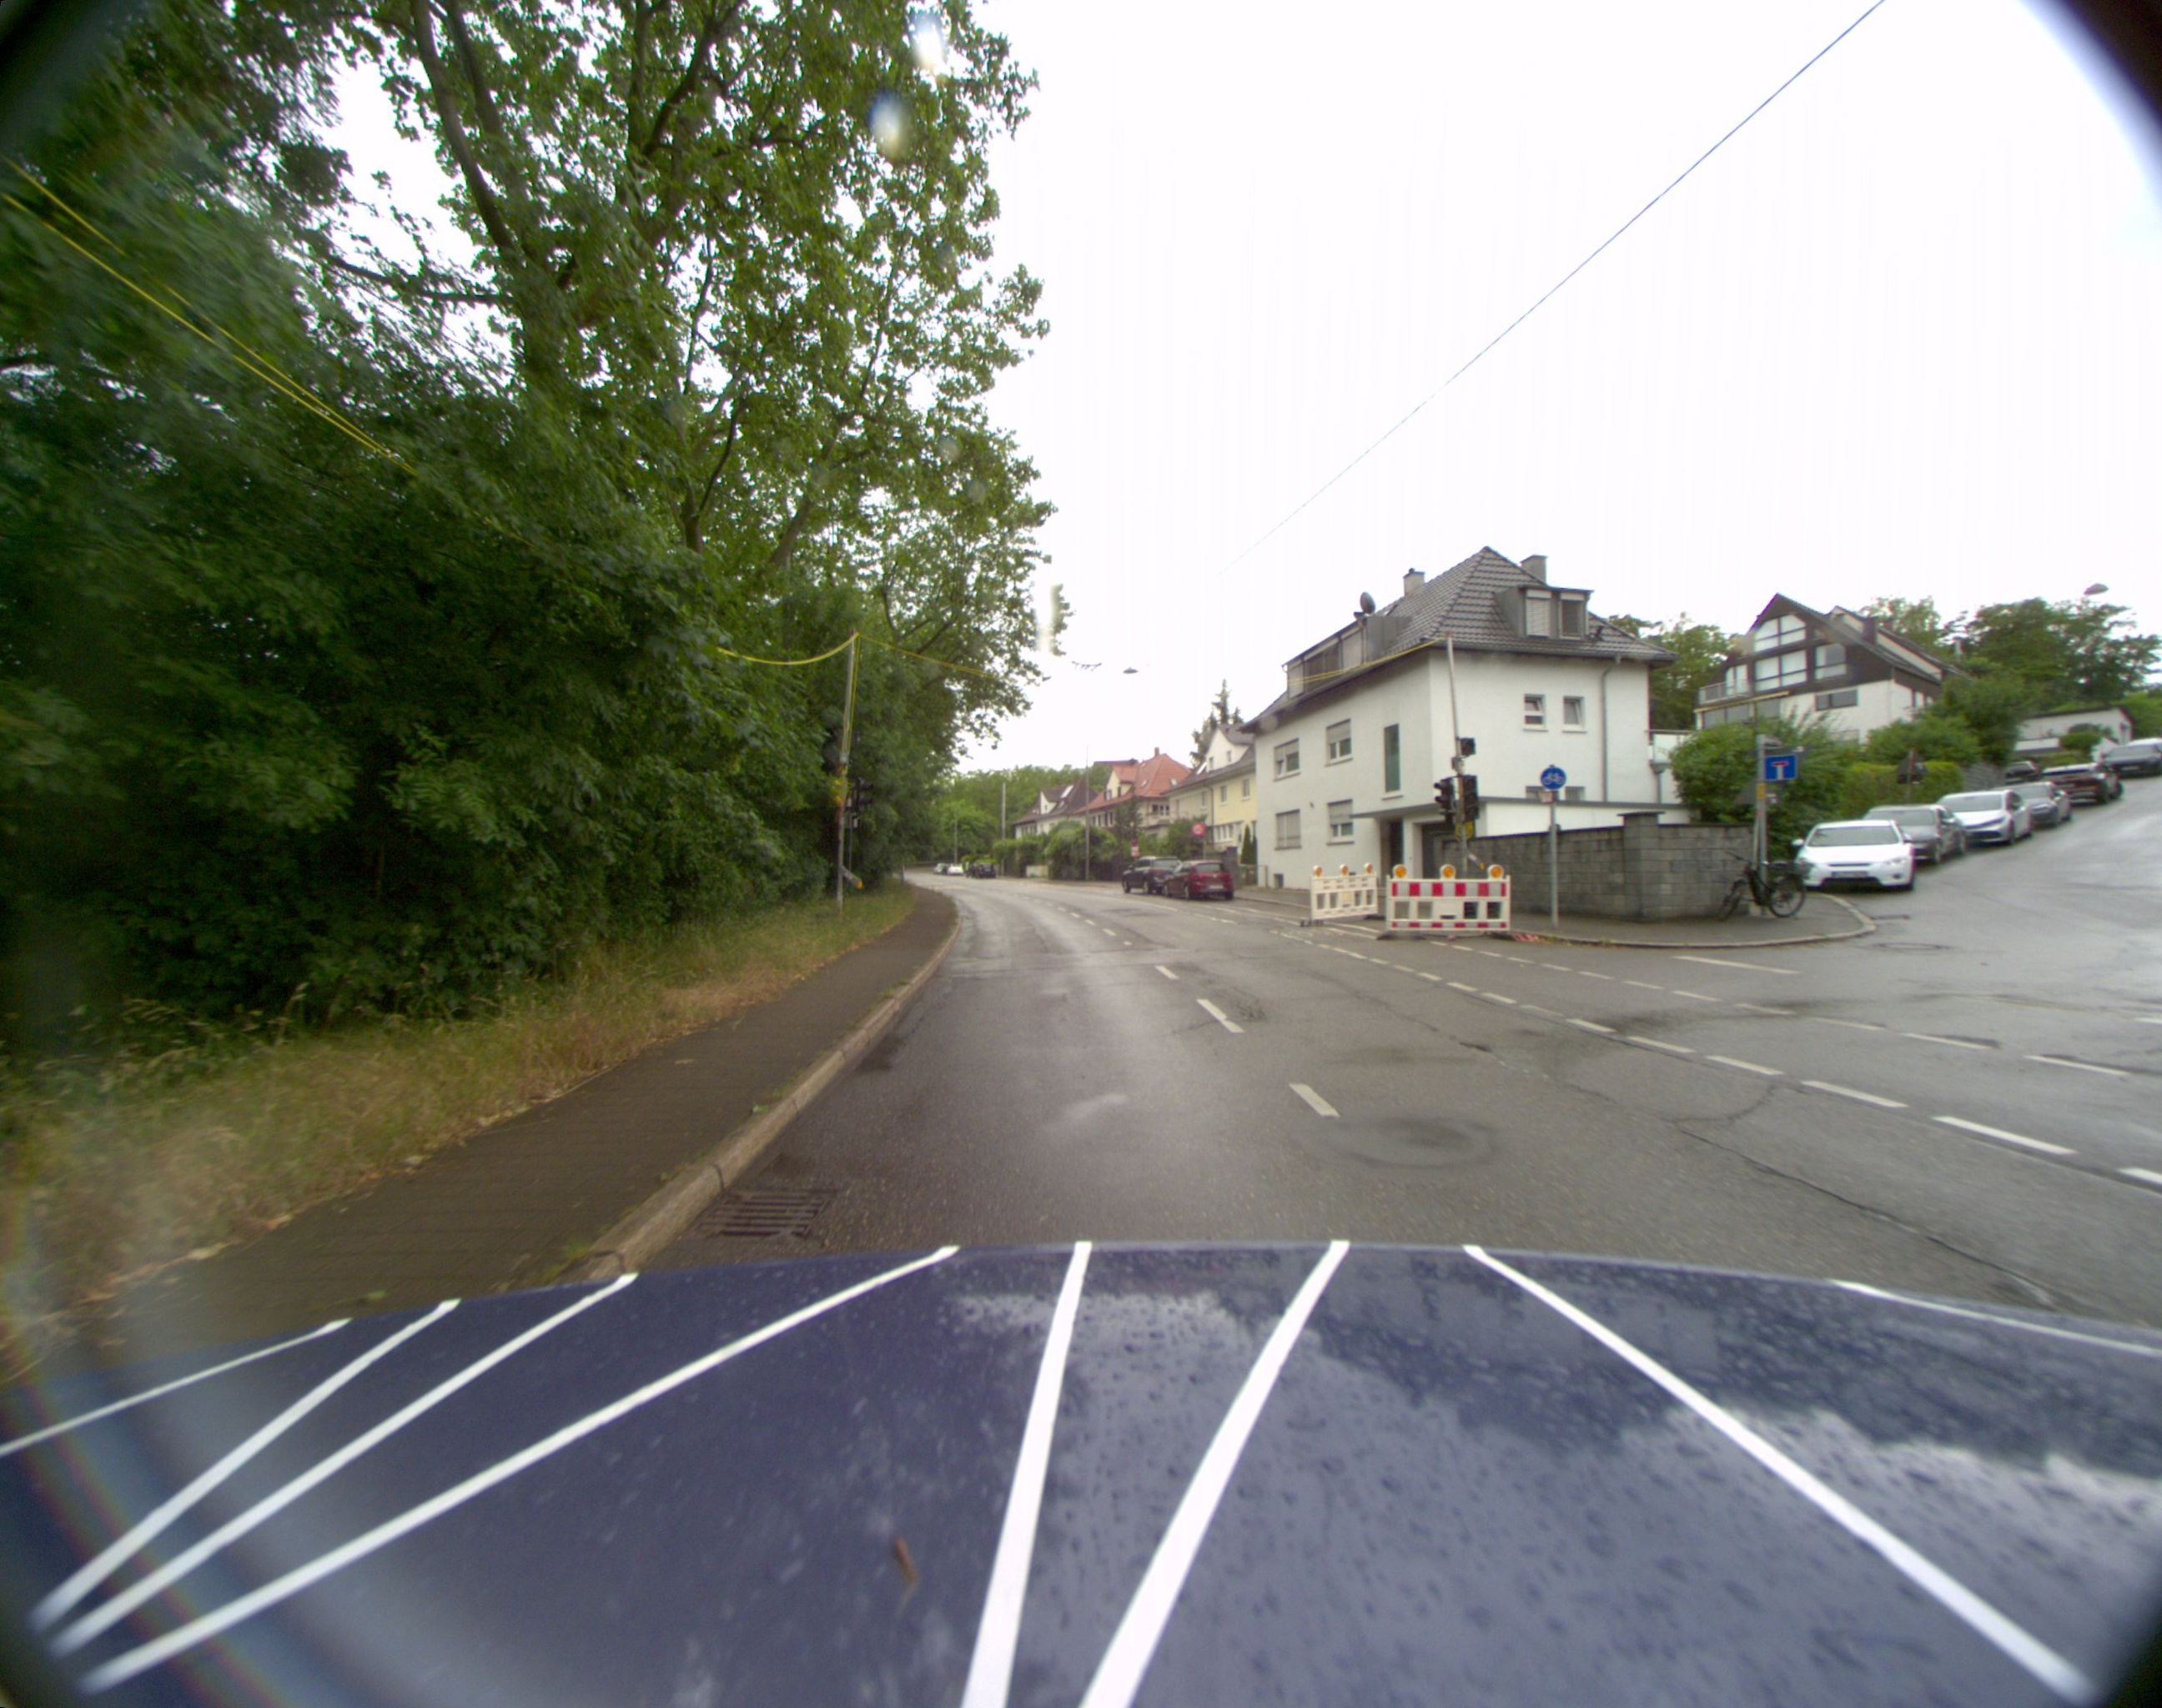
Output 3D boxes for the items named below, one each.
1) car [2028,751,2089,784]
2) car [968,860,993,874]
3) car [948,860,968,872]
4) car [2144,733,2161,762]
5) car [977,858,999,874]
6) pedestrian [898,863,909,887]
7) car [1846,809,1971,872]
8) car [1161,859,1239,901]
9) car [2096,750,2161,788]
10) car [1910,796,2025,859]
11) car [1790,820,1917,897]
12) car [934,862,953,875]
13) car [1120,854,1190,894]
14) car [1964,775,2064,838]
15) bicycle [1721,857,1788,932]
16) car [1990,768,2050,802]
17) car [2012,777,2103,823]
[{"bbox_3d":[57.606,-5.060,44.834,4.007,1.711,1.886,-5,3,-42],"label":"car"},{"bbox_3d":[-10.463,1.340,78.660,1.695,1.409,4.208,1,-1,-20],"label":"car"},{"bbox_3d":[-15.069,1.451,92.865,1.705,1.459,3.705,-1,0,-19],"label":"car"},{"bbox_3d":[68.667,-6.685,46.526,1.894,1.711,3.990,-4,2,-30],"label":"car"},{"bbox_3d":[-9.163,1.171,74.691,1.525,1.445,3.025,1,-1,-17],"label":"car"},{"bbox_3d":[-12.119,1.413,51.958,0.644,1.602,0.668,-1,1,-19],"label":"pedestrian"},{"bbox_3d":[22.555,-0.398,20.678,4.006,1.458,1.886,-4,2,-36],"label":"car"},{"bbox_3d":[4.445,0.948,29.057,1.622,1.432,4.227,-1,-1,-10],"label":"car"},{"bbox_3d":[54.271,-4.377,39.226,4.006,1.711,1.886,-4,2,-32],"label":"car"},{"bbox_3d":[27.141,-0.837,23.238,4.006,1.711,1.886,-4,2,-35],"label":"car"},{"bbox_3d":[17.775,0.042,17.428,4.007,1.458,1.886,-5,3,-42],"label":"car"},{"bbox_3d":[-18.526,1.964,102.301,1.739,1.414,4.274,-5,4,-18],"label":"car"},{"bbox_3d":[3.255,0.888,34.250,1.761,1.648,4.400,1,-1,-14],"label":"car"},{"bbox_3d":[32.248,-1.651,26.244,4.006,1.981,1.886,-4,3,-35],"label":"car"},{"bbox_3d":[11.385,0.658,12.832,1.521,1.118,0.462,-4,3,-33],"label":"bicycle"},{"bbox_3d":[53.217,-3.898,43.131,4.007,1.711,1.886,-5,3,-42],"label":"car"},{"bbox_3d":[40.215,-2.235,31.276,4.006,1.711,1.886,-4,2,-32],"label":"car"}]
